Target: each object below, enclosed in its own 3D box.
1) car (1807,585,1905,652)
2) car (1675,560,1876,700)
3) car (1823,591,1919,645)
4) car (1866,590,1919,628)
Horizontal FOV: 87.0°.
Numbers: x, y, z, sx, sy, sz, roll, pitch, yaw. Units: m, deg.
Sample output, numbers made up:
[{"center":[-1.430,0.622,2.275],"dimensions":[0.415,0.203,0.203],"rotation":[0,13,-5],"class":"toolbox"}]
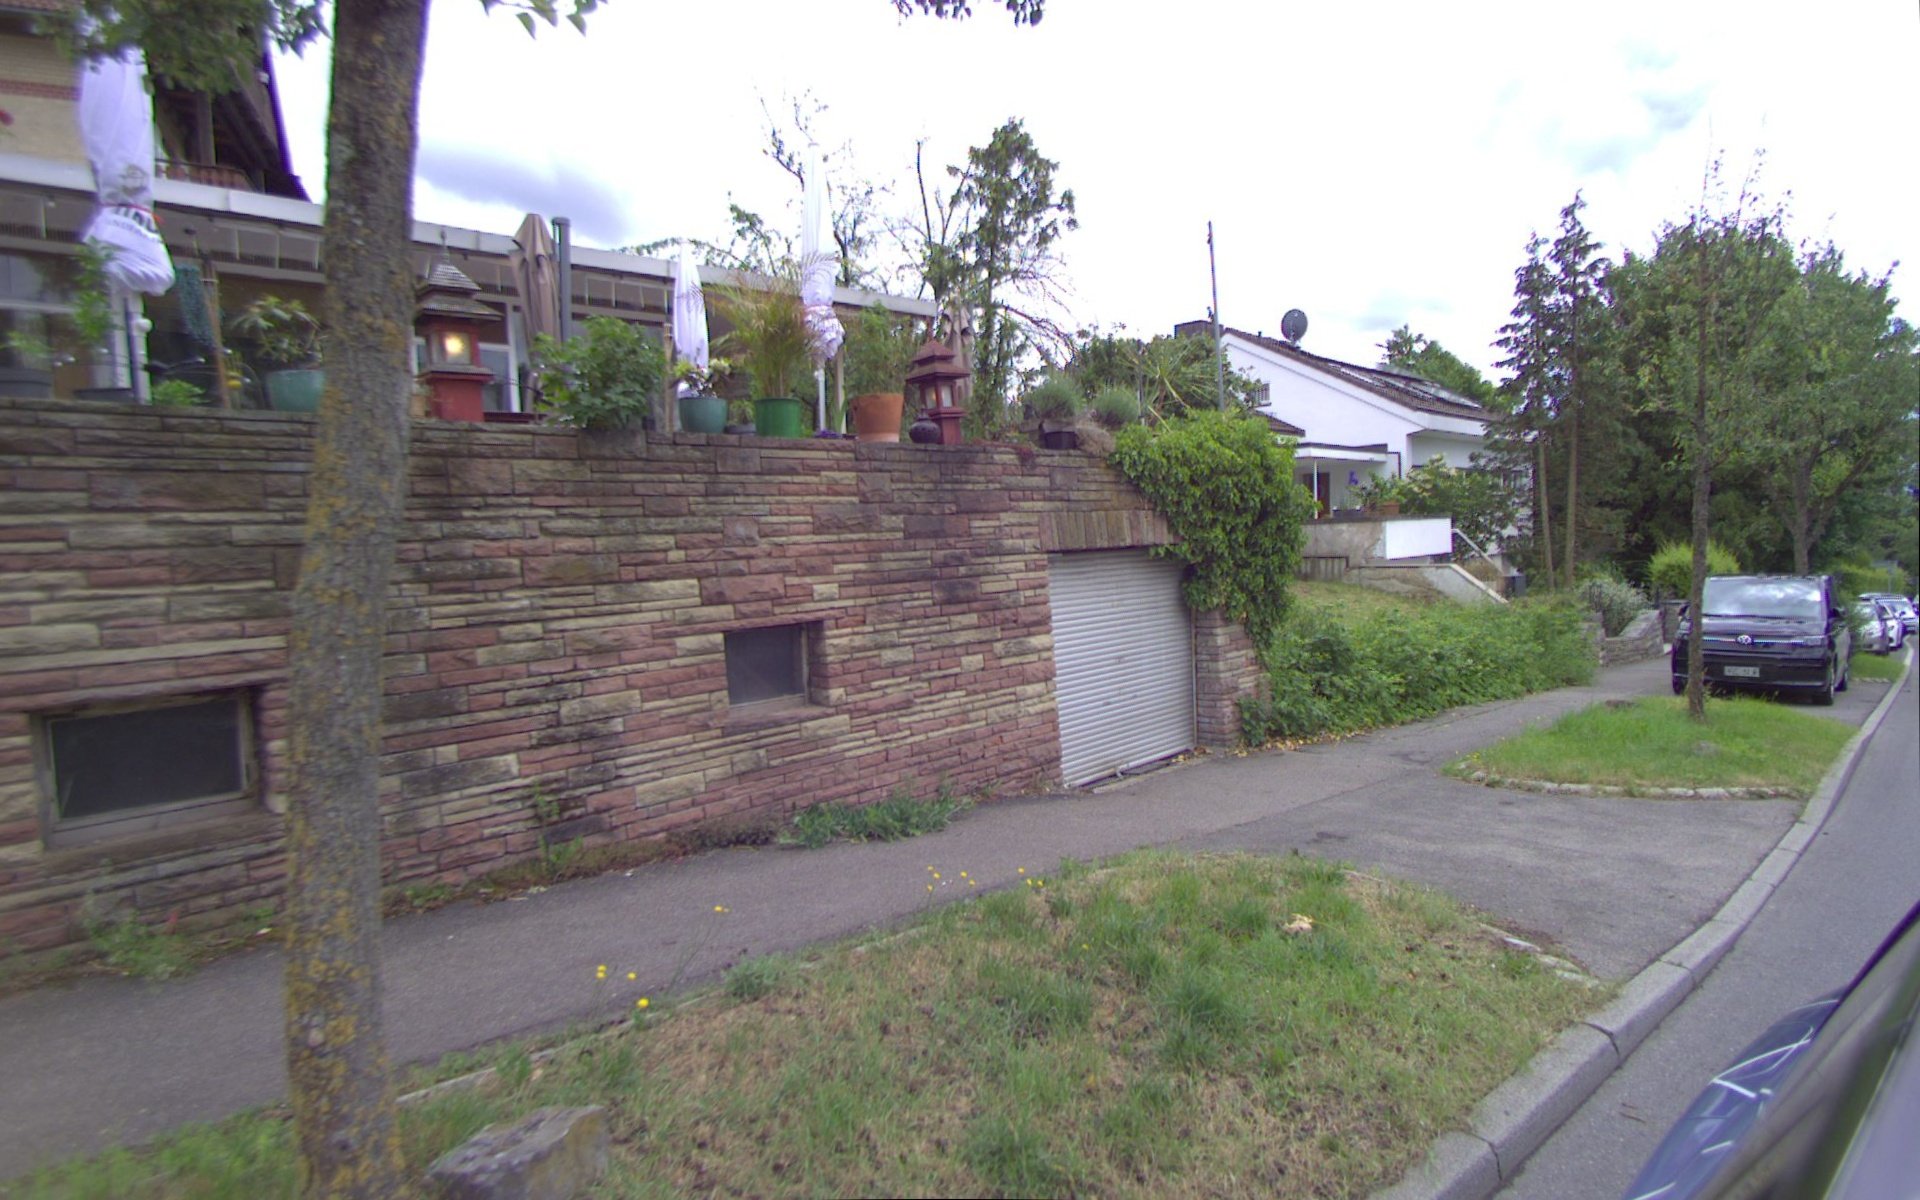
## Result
[{"center":[23.933,0.455,26.985],"dimensions":[1.717,1.653,3.865],"rotation":[-1,0,45],"class":"car"},{"center":[13.004,0.367,15.998],"dimensions":[1.937,1.861,5.134],"rotation":[1,1,45],"class":"car"},{"center":[28.698,0.516,31.762],"dimensions":[4.922,1.510,1.995],"rotation":[0,2,-45],"class":"car"},{"center":[42.756,0.375,46.126],"dimensions":[1.998,1.628,4.689],"rotation":[2,2,40],"class":"car"}]
